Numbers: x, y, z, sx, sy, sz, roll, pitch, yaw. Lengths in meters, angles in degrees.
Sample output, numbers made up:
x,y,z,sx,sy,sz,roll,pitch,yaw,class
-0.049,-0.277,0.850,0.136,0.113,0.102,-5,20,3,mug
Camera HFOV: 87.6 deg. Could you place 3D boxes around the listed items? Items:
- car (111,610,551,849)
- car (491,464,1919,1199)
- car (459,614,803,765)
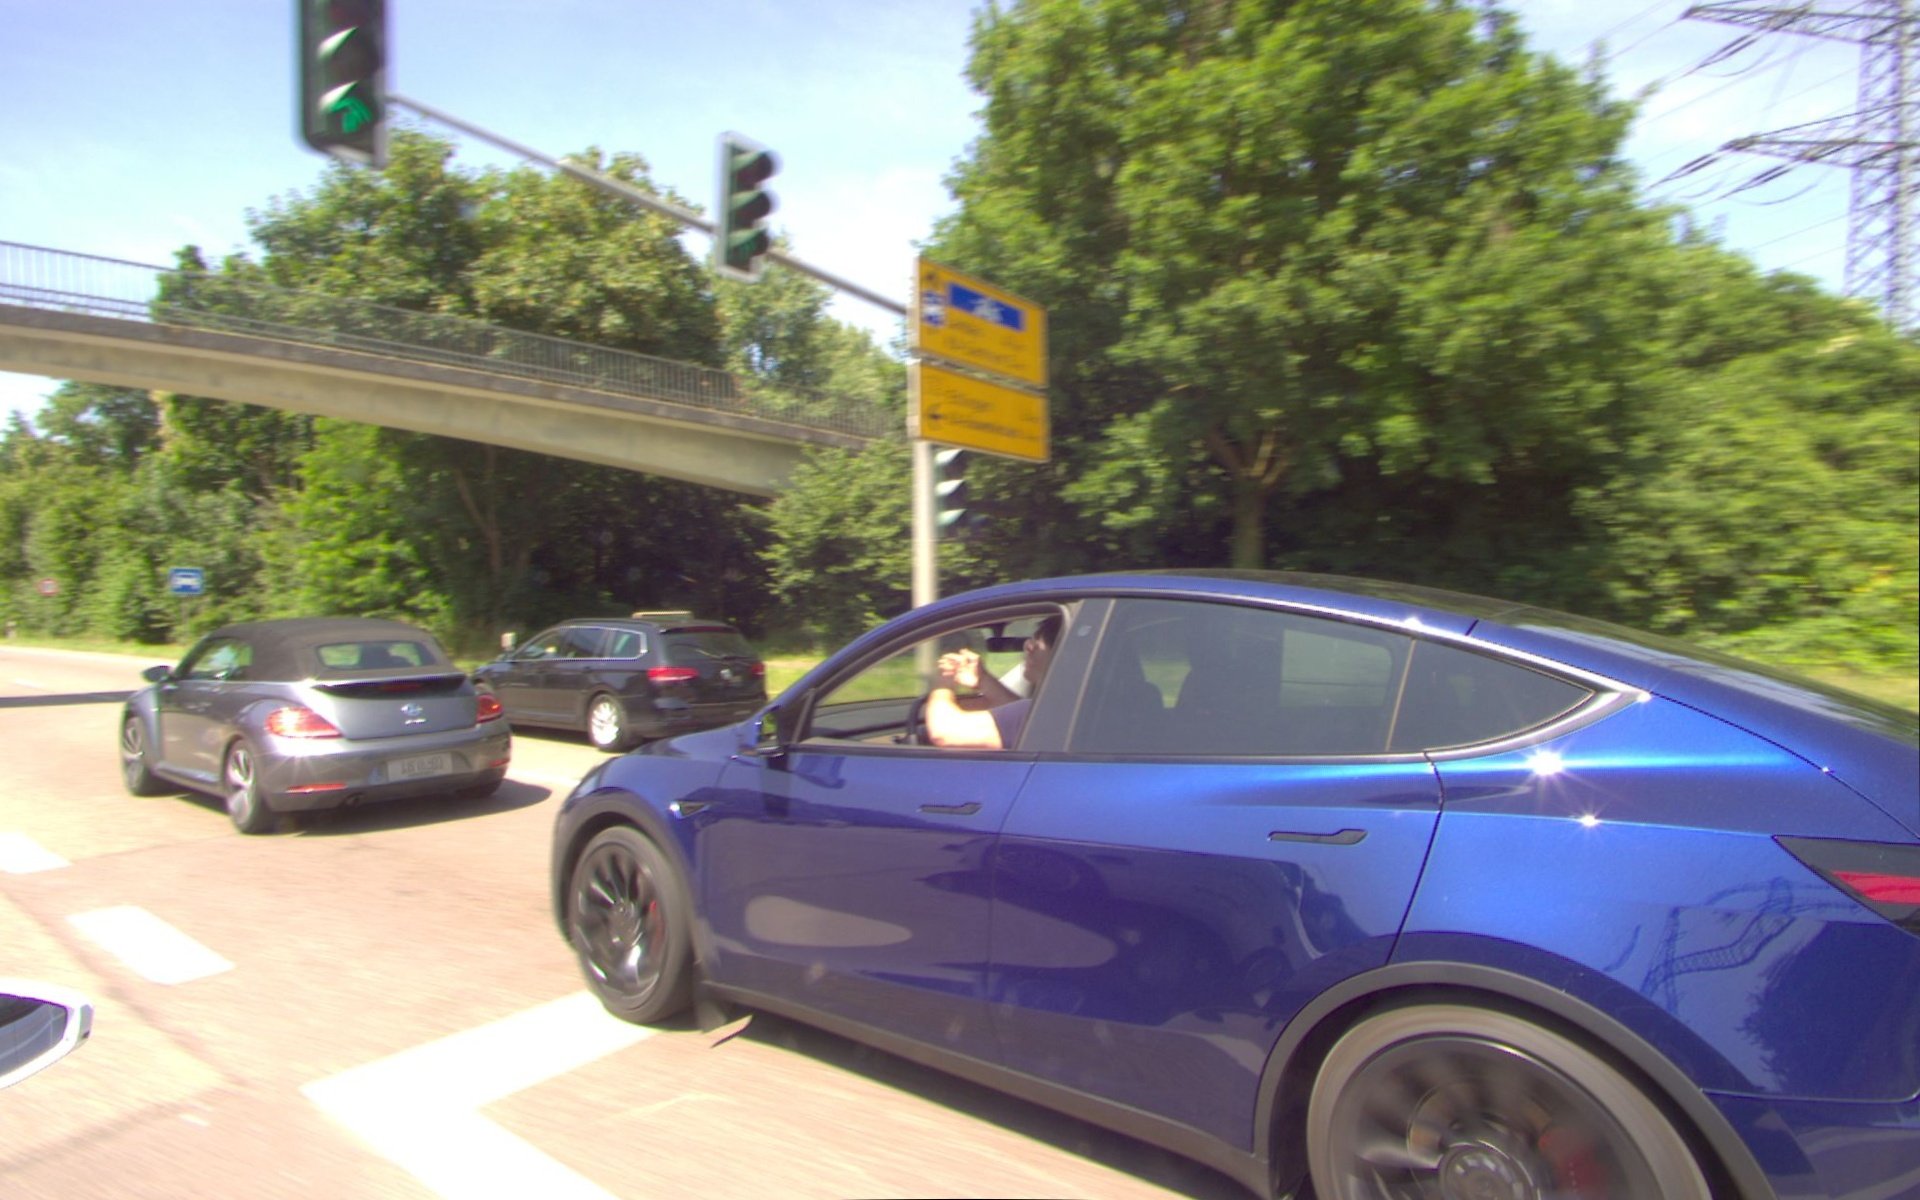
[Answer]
x,y,z,sx,sy,sz,roll,pitch,yaw,class
-5.270,0.845,8.230,3.890,1.497,1.893,-1,-1,38,car
0.450,0.668,3.417,4.463,1.666,1.894,-1,-1,37,car
-4.068,0.929,12.070,4.326,1.497,1.893,-1,-1,38,car
